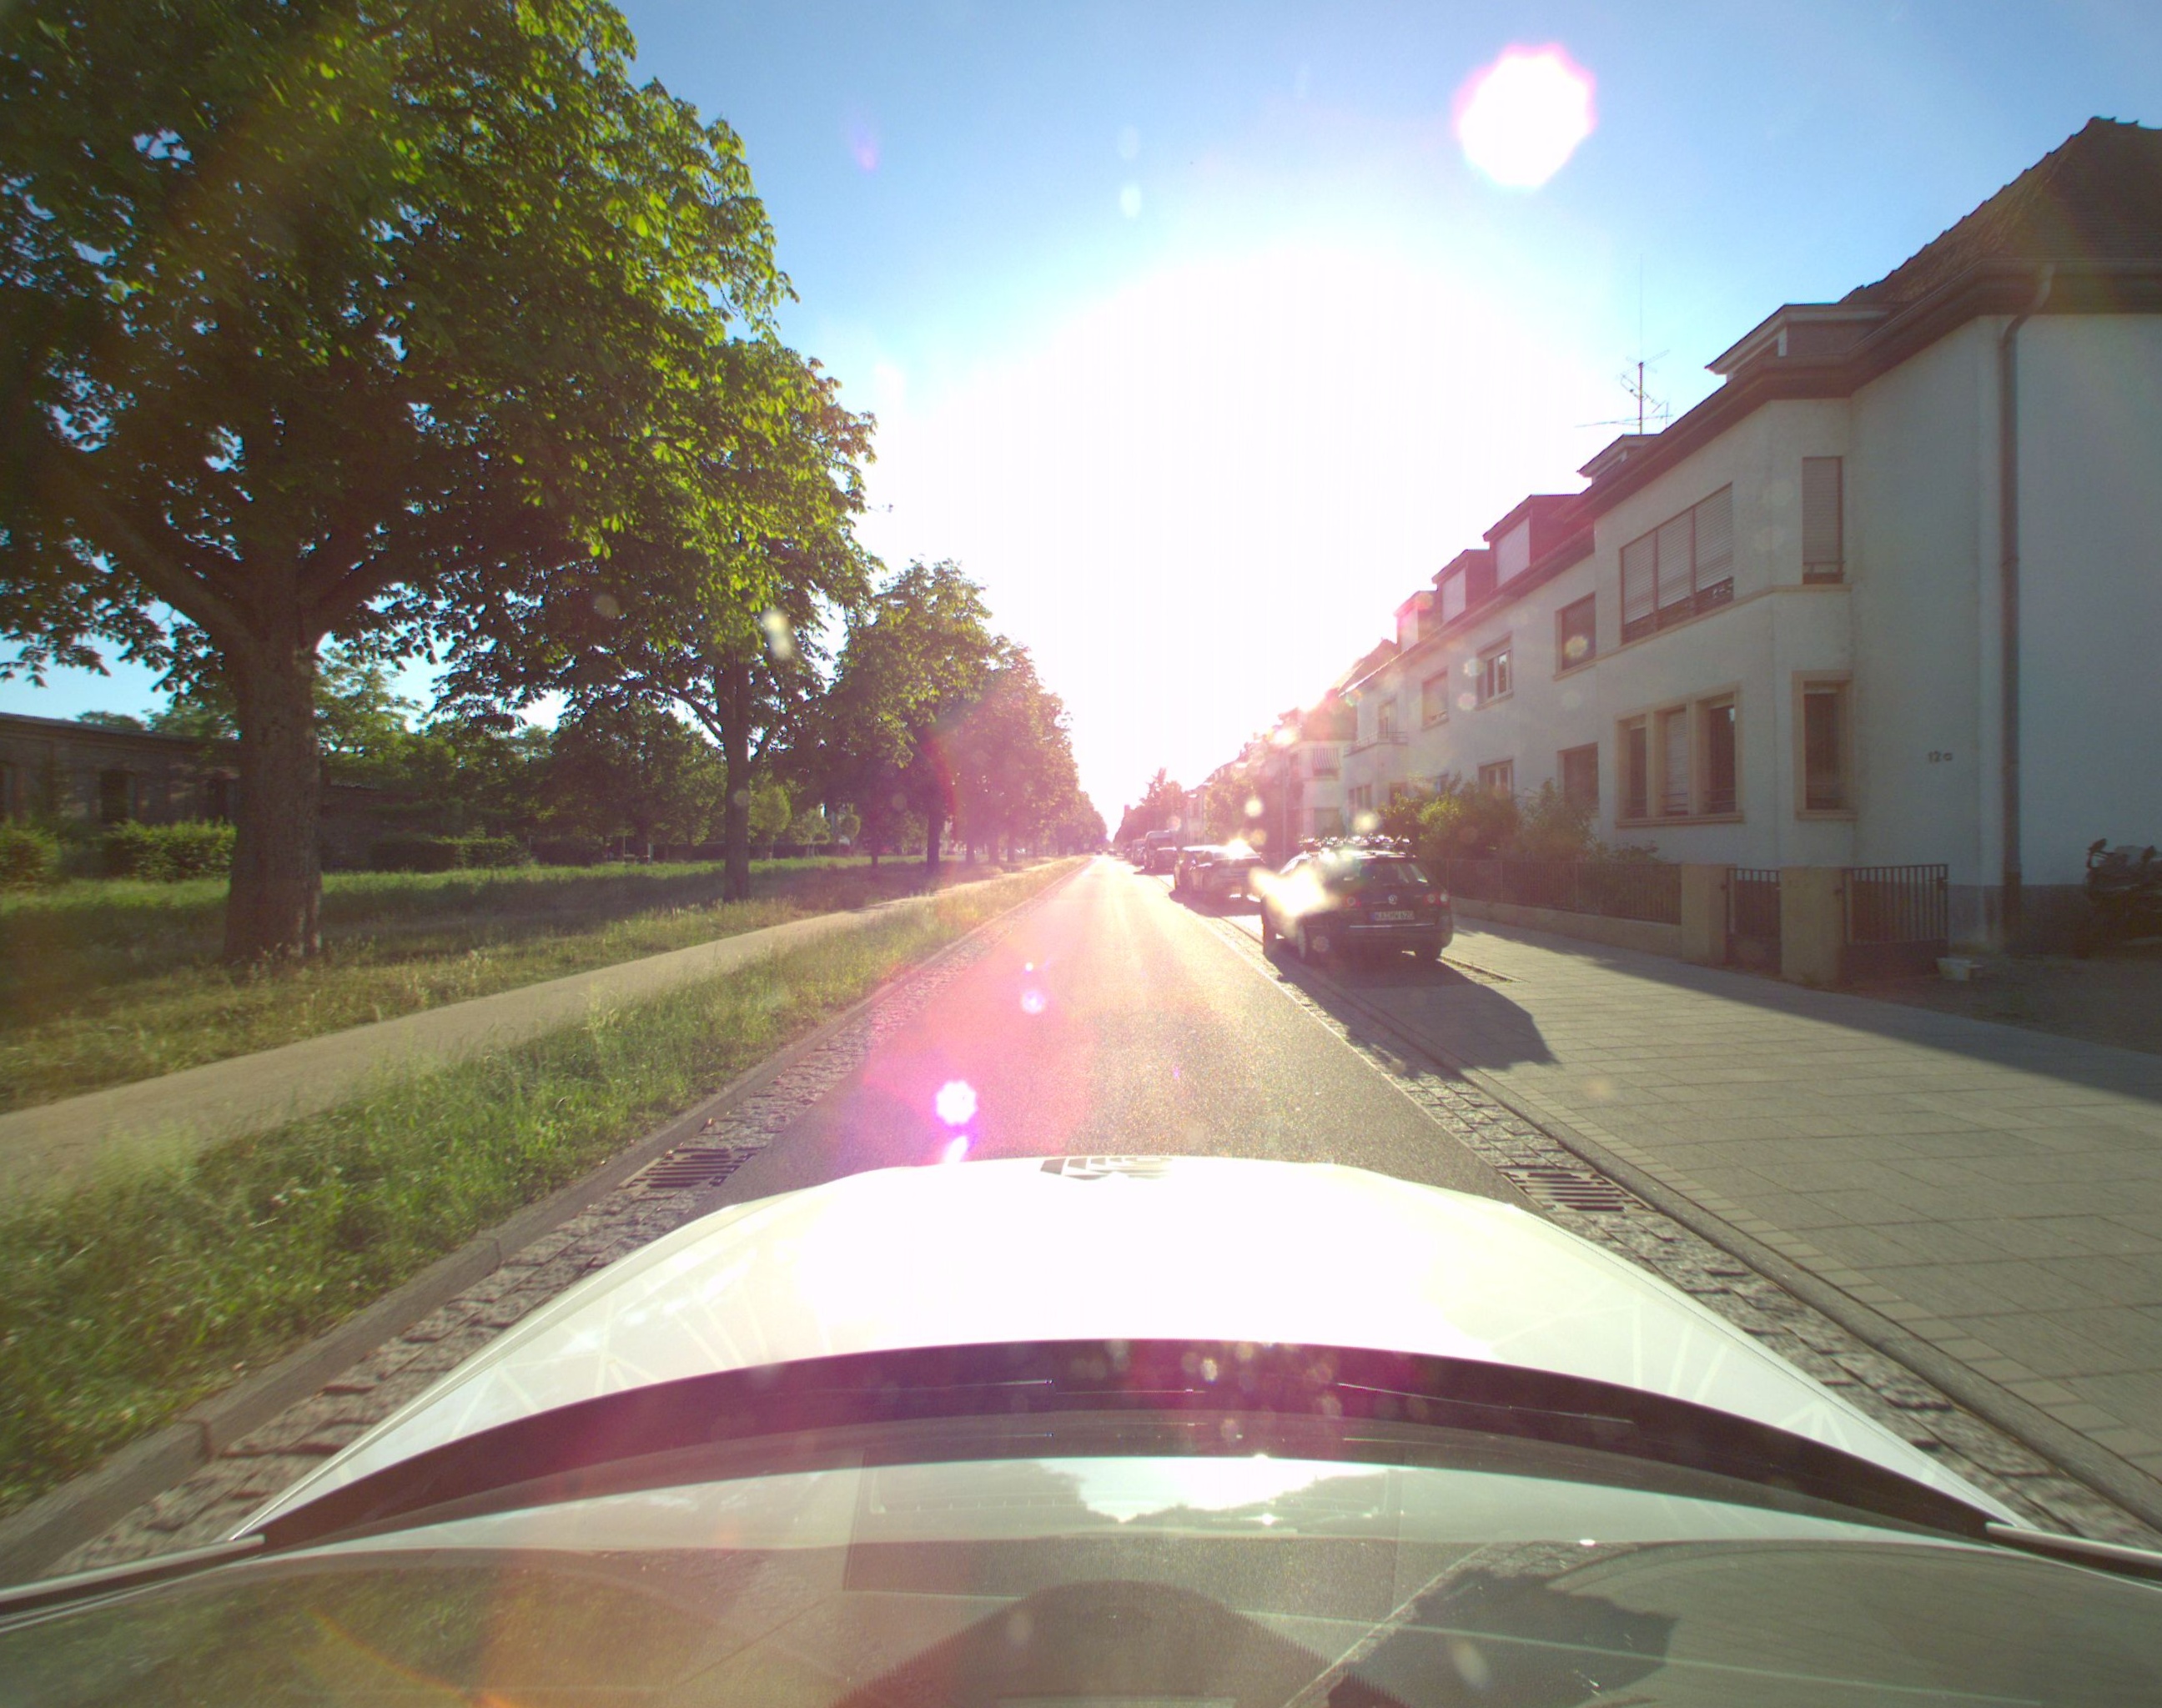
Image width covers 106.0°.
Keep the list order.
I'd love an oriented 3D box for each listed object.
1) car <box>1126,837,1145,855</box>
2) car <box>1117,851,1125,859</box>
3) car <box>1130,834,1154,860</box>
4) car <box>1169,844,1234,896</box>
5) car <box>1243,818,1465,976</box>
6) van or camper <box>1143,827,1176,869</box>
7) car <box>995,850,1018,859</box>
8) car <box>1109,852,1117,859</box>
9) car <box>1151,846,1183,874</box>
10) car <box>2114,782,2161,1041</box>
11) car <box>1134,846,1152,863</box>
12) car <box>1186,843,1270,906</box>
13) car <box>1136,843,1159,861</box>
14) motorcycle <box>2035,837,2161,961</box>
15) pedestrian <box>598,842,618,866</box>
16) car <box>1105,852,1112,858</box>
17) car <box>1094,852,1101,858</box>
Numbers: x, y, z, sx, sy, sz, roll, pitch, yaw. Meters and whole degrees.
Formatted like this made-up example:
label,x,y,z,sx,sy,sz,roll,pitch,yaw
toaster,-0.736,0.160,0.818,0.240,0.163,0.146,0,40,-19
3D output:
label,x,y,z,sx,sy,sz,roll,pitch,yaw
car,6.670,-0.982,100.252,2.118,2.067,5.192,-2,1,2
car,8.529,0.168,174.607,1.643,1.530,3.854,-2,1,3
car,6.498,-0.757,86.922,2.119,2.532,5.188,-2,1,0
car,4.280,0.515,29.491,1.825,1.685,4.418,1,1,2
car,3.657,0.477,11.830,1.787,1.771,4.475,-3,1,2
van or camper,5.400,-0.420,56.787,1.936,2.777,5.943,0,0,2
car,-14.660,0.161,160.307,4.341,1.764,1.996,0,0,-7
car,7.664,0.334,193.181,1.856,1.597,3.895,0,0,1
car,5.283,0.340,50.276,1.657,1.592,4.088,-3,0,2
car,9.290,0.326,4.784,4.205,1.726,1.852,-2,0,-2
car,6.157,0.028,80.857,1.643,1.530,3.854,-2,1,3
car,4.160,0.526,23.655,1.711,1.574,4.212,-3,0,2
car,6.147,-0.209,75.472,1.831,1.635,4.132,-2,1,1
motorcycle,11.575,0.445,8.700,2.063,1.247,0.598,-2,0,-1
pedestrian,-37.253,0.007,64.126,1.044,1.881,0.798,0,0,4
car,7.673,0.218,224.561,1.856,1.597,3.871,0,0,1
car,4.612,0.308,229.861,1.856,1.597,3.871,0,0,1
